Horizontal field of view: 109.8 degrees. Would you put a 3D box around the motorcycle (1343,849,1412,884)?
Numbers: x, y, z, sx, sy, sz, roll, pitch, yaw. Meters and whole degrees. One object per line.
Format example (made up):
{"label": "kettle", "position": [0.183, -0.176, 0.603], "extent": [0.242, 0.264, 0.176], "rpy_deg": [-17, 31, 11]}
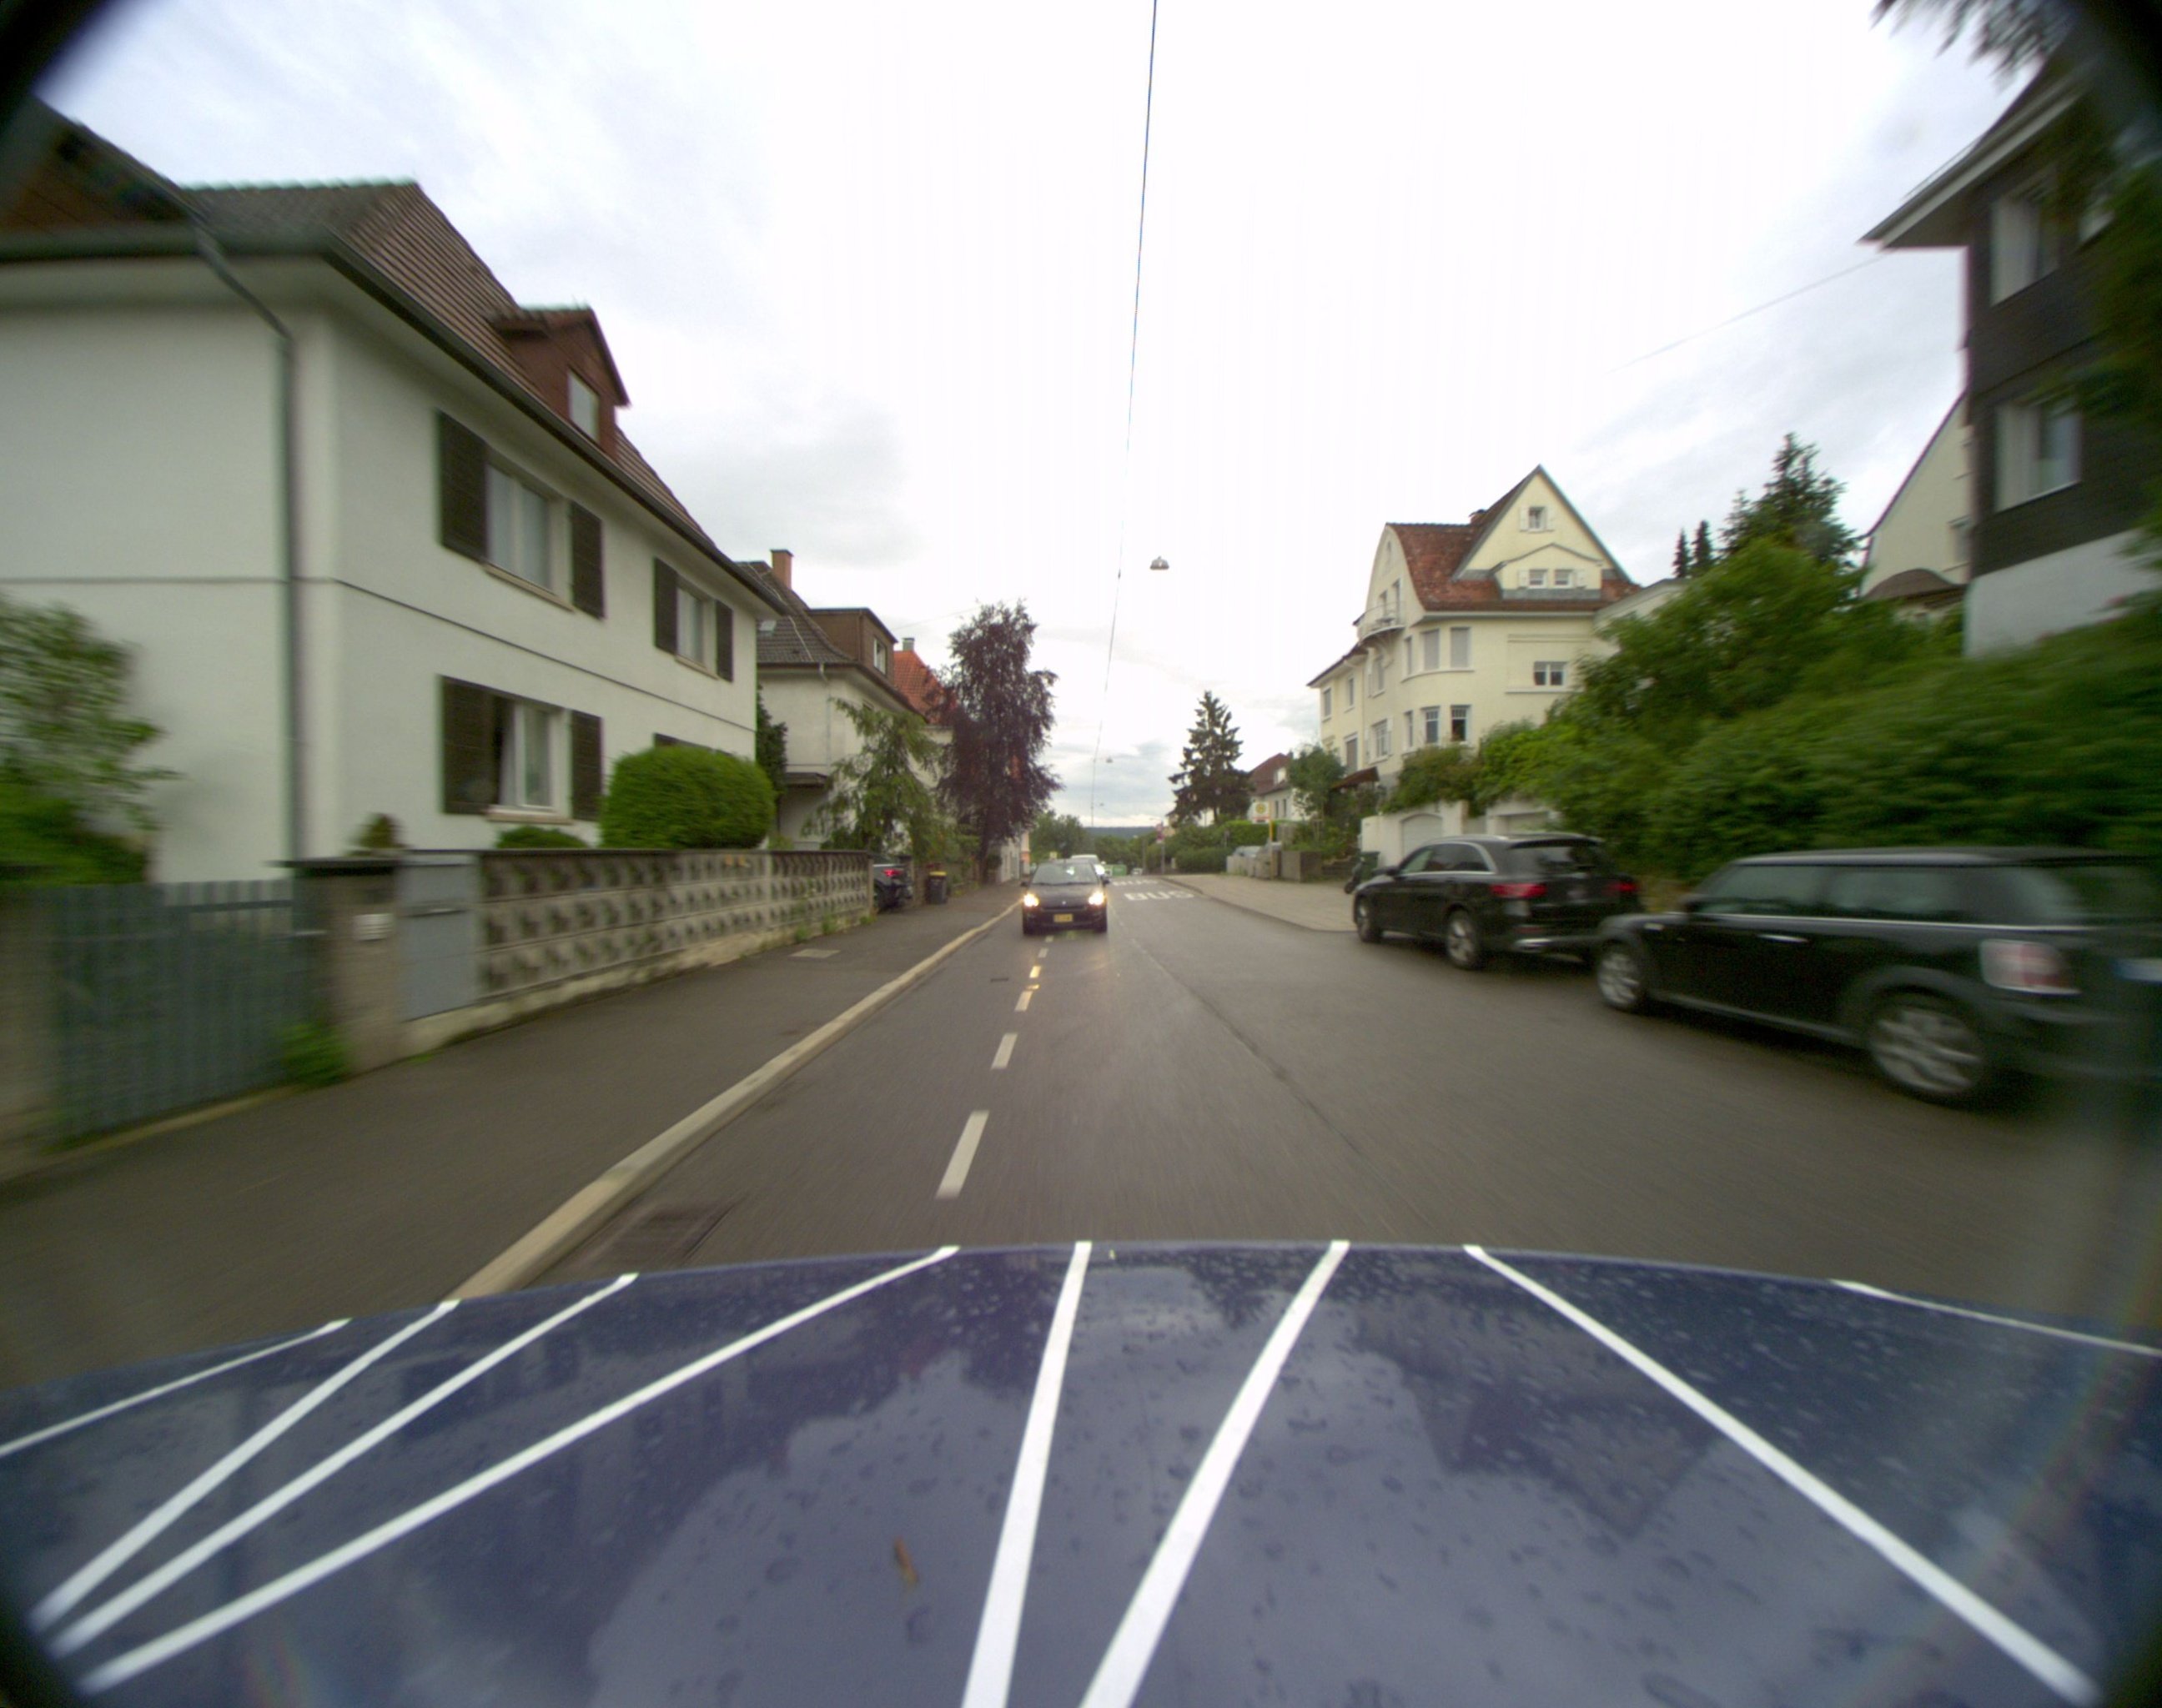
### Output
{"label": "motorcycle", "position": [8.829, 0.368, 22.674], "extent": [1.798, 0.898, 0.603], "rpy_deg": [-4, 1, 0]}

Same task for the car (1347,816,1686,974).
{"label": "car", "position": [5.399, 0.410, 10.241], "extent": [1.898, 1.613, 4.377], "rpy_deg": [-2, 1, -2]}

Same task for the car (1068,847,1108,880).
{"label": "car", "position": [0.366, 0.503, 39.787], "extent": [1.928, 1.577, 4.001], "rpy_deg": [-2, -1, 1]}

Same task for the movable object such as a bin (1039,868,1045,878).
{"label": "movable object such as a bin", "position": [-3.553, 1.707, 69.779], "extent": [0.533, 0.913, 0.488], "rpy_deg": [2, 0, -2]}

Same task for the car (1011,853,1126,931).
{"label": "car", "position": [-0.127, 0.737, 16.198], "extent": [1.710, 1.414, 4.003], "rpy_deg": [-2, -1, 10]}

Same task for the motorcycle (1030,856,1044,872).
{"label": "motorcycle", "position": [-3.475, 0.783, 60.274], "extent": [0.694, 1.219, 2.154], "rpy_deg": [5, 0, 5]}

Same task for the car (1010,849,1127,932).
{"label": "car", "position": [-0.130, 0.722, 16.172], "extent": [1.695, 1.482, 3.943], "rpy_deg": [-3, -1, 10]}

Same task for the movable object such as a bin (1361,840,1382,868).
{"label": "movable object such as a bin", "position": [11.104, 0.007, 29.046], "extent": [0.575, 1.052, 0.513], "rpy_deg": [-2, 0, 0]}

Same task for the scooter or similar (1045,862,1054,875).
{"label": "scooter or similar", "position": [-3.385, 1.531, 81.701], "extent": [0.355, 1.394, 1.481], "rpy_deg": [-2, 0, 25]}

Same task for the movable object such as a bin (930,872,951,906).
{"label": "movable object such as a bin", "position": [-4.029, 0.998, 21.788], "extent": [0.495, 0.950, 0.503], "rpy_deg": [-2, 0, -2]}

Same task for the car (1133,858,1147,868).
{"label": "car", "position": [8.660, 1.311, 112.076], "extent": [1.868, 1.492, 4.001], "rpy_deg": [-2, -1, 3]}

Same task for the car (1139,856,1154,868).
{"label": "car", "position": [8.526, 1.019, 99.364], "extent": [1.594, 1.482, 3.438], "rpy_deg": [-3, -1, 1]}

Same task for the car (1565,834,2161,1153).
{"label": "car", "position": [5.586, 0.638, 5.367], "extent": [1.898, 1.438, 3.814], "rpy_deg": [-2, -1, 0]}

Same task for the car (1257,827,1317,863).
{"label": "car", "position": [10.640, -0.417, 39.549], "extent": [1.770, 1.686, 3.999], "rpy_deg": [-2, -1, -4]}

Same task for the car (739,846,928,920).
{"label": "car", "position": [-6.016, 0.702, 18.833], "extent": [3.997, 1.630, 1.918], "rpy_deg": [-2, 0, 0]}

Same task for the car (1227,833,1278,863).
{"label": "car", "position": [9.809, -0.297, 43.735], "extent": [1.770, 1.608, 3.999], "rpy_deg": [-2, -1, -4]}
